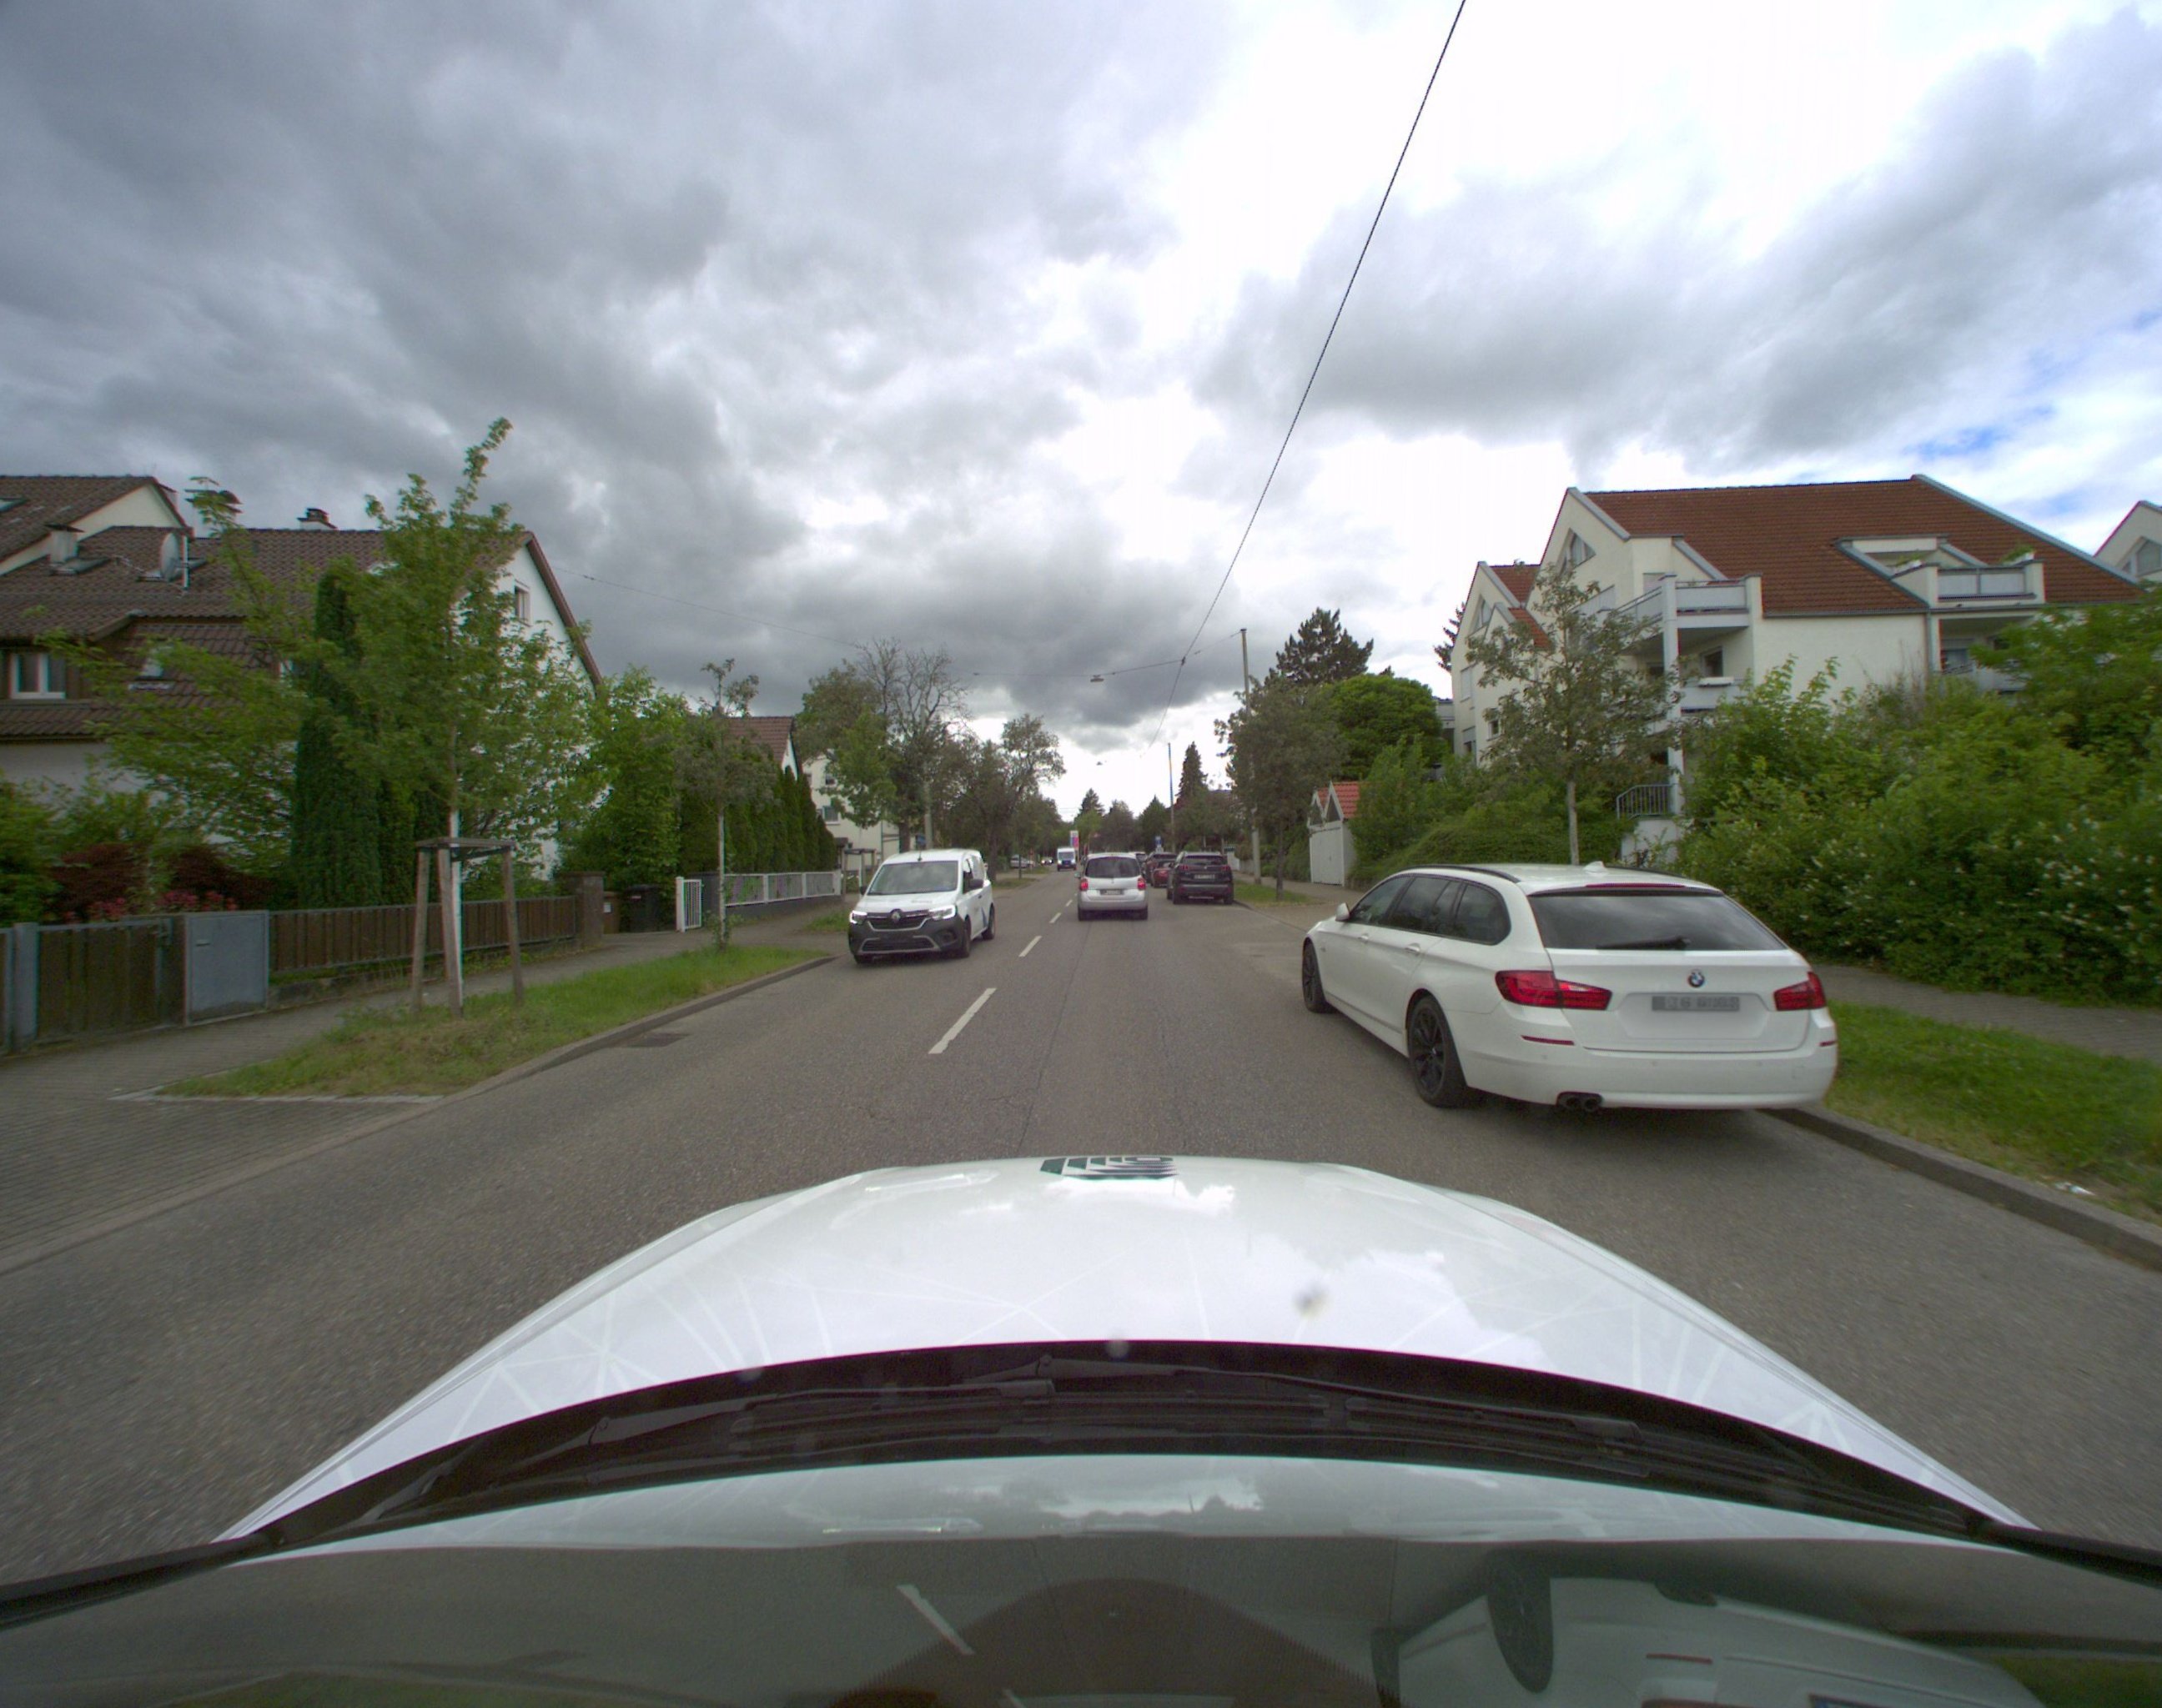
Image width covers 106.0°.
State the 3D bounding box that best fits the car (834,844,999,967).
[{"bbox_3d":[-2.661,0.763,14.213,1.788,1.752,4.300,-3,0,2],"label":"car"}]

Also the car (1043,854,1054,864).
[{"bbox_3d":[-5.798,0.850,143.688,1.831,1.713,3.996,-3,0,-3],"label":"car"}]

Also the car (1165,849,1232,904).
[{"bbox_3d":[3.689,0.669,26.178,1.681,1.609,4.111,0,0,2],"label":"car"}]

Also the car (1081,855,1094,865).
[{"bbox_3d":[1.012,0.893,129.437,1.694,1.506,3.963,-1,0,-7],"label":"car"}]

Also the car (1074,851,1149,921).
[{"bbox_3d":[0.768,0.730,20.208,1.673,1.560,3.514,-1,0,2],"label":"car"}]

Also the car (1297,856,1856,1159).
[{"bbox_3d":[2.994,0.750,6.175,1.687,1.453,4.406,0,0,2],"label":"car"}]

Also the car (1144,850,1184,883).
[{"bbox_3d":[4.489,0.640,44.683,1.823,1.712,4.551,1,0,2],"label":"car"}]

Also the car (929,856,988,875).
[{"bbox_3d":[-9.237,0.847,61.797,4.272,1.368,1.813,1,-1,-6],"label":"car"}]

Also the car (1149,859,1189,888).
[{"bbox_3d":[4.025,0.859,37.700,1.476,1.236,3.885,1,0,1],"label":"car"}]

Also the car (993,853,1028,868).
[{"bbox_3d":[-8.597,0.800,99.378,4.076,1.706,1.746,1,0,-2],"label":"car"}]

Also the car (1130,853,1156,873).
[{"bbox_3d":[4.792,0.686,63.136,1.554,1.443,3.503,0,0,-3],"label":"car"}]

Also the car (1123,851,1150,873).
[{"bbox_3d":[4.590,0.645,68.223,1.794,1.778,4.700,0,0,-2],"label":"car"}]

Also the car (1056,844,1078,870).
[{"bbox_3d":[-1.442,0.299,87.162,2.066,2.582,5.300,-4,0,1],"label":"car"}]

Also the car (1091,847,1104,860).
[{"bbox_3d":[3.526,-0.101,175.461,2.277,2.911,5.271,0,0,-4],"label":"car"}]

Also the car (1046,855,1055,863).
[{"bbox_3d":[-6.654,1.059,174.768,1.831,1.713,3.996,-3,0,-3],"label":"car"}]

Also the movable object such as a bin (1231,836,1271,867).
[{"bbox_3d":[11.109,-0.135,53.272,2.306,2.014,1.341,0,-1,-4],"label":"movable object such as a bin"}]
